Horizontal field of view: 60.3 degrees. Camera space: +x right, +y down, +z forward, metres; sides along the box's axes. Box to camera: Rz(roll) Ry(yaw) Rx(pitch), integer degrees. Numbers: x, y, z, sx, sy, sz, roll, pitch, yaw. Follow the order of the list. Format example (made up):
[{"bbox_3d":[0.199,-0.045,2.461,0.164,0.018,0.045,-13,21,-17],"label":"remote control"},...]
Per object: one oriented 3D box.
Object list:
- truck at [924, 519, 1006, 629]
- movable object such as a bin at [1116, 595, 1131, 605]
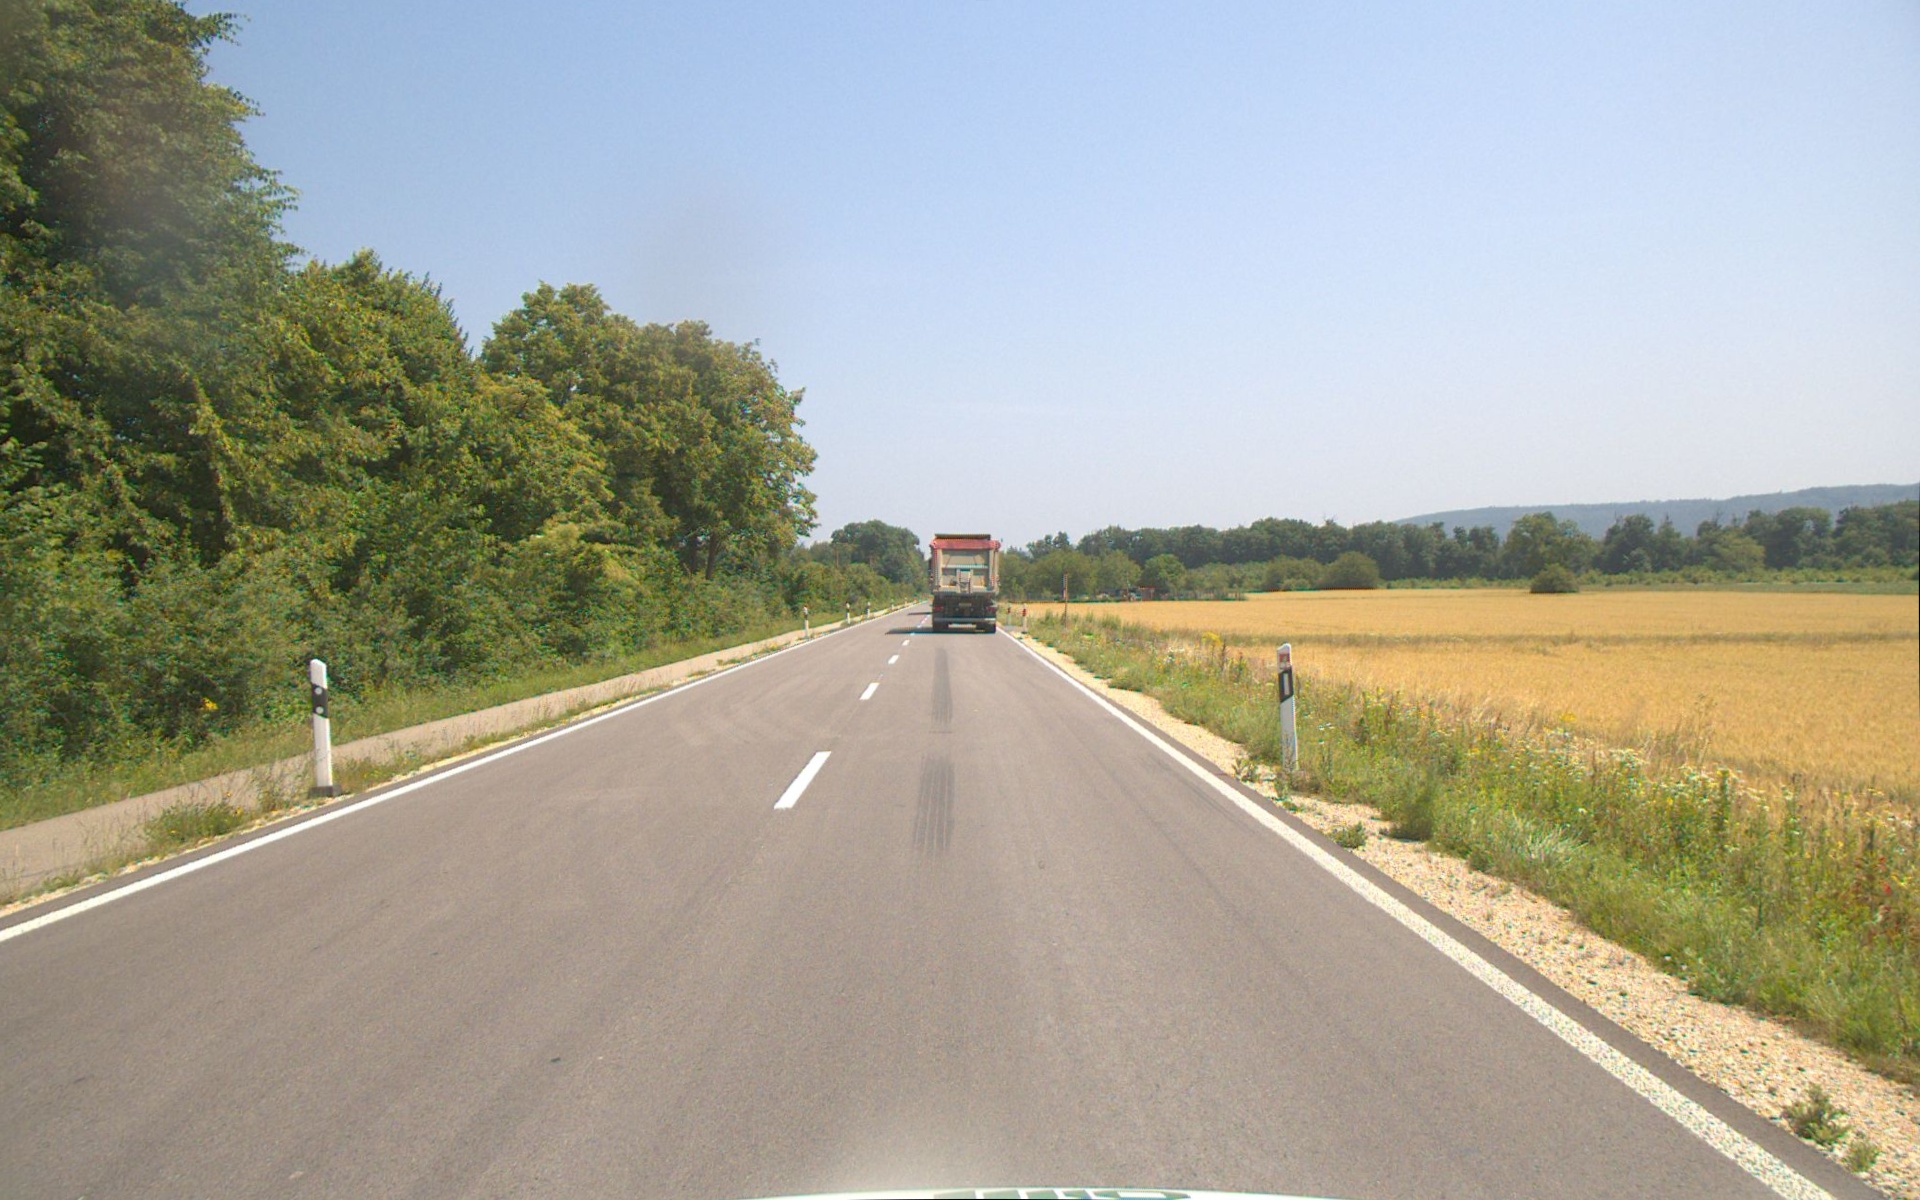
[{"bbox_3d":[0.127,-0.927,66.592,2.948,3.942,12.207,1,0,0],"label":"truck"},{"bbox_3d":[24.669,0.054,249.865,1.540,1.522,3.655,-1,0,-5],"label":"movable object such as a bin"}]
